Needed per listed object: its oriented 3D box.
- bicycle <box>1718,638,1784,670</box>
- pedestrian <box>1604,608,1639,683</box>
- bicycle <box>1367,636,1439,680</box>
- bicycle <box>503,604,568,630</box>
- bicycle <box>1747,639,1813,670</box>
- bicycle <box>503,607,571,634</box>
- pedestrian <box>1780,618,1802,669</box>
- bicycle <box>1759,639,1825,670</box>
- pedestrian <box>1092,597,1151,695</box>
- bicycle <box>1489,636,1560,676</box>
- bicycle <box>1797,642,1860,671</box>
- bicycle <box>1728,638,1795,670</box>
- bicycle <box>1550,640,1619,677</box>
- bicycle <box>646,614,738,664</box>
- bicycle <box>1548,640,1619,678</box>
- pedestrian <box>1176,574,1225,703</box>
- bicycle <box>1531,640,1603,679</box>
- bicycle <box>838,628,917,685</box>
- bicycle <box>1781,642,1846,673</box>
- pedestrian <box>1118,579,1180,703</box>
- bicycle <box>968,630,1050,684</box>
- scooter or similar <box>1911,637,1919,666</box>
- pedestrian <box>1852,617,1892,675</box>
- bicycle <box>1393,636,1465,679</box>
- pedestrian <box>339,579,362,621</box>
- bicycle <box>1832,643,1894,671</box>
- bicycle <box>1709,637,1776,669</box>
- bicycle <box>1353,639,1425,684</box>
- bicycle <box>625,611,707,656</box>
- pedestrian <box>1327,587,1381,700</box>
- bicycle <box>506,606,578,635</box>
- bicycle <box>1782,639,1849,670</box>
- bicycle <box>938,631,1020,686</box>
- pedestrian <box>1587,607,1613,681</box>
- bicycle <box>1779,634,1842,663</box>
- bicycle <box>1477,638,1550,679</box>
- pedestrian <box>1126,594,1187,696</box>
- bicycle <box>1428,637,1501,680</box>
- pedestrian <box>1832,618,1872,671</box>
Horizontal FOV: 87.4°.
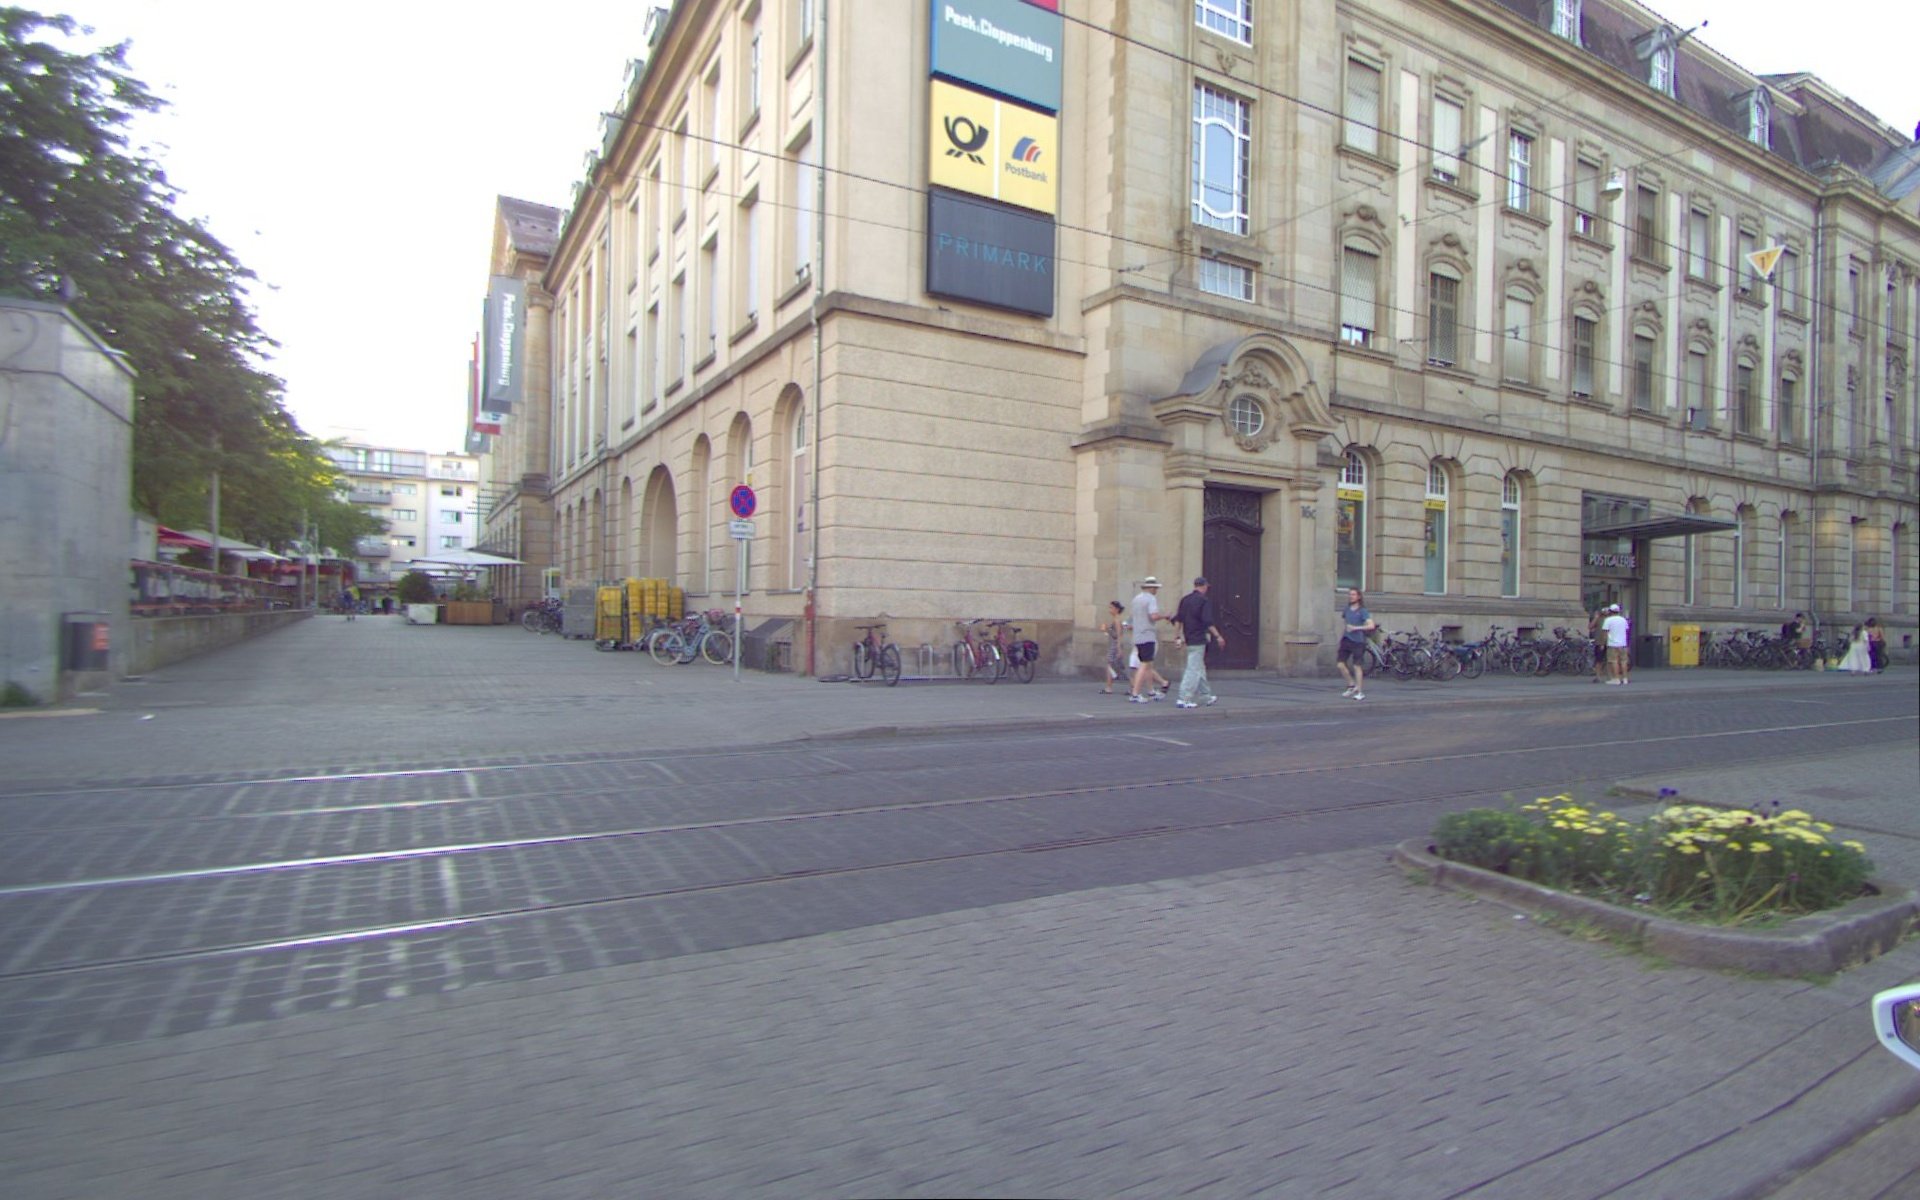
[{"bbox_3d":[24.572,1.658,31.241,0.445,0.885,1.571,2,0,-25],"label":"bicycle"},{"bbox_3d":[14.875,1.014,22.600,0.483,1.653,0.376,2,0,10],"label":"pedestrian"},{"bbox_3d":[10.009,1.297,22.731,0.445,0.885,1.571,2,0,-25],"label":"bicycle"},{"bbox_3d":[-15.771,0.634,37.351,2.167,0.955,0.534,1,0,-31],"label":"bicycle"},{"bbox_3d":[26.067,1.717,31.969,0.445,0.885,1.571,2,0,-25],"label":"bicycle"},{"bbox_3d":[-15.016,0.731,35.646,2.167,0.955,0.534,1,0,-31],"label":"bicycle"},{"bbox_3d":[27.060,1.410,32.706,0.424,1.655,0.363,2,0,-24],"label":"pedestrian"},{"bbox_3d":[26.661,1.723,32.194,0.445,0.885,1.571,2,0,-25],"label":"bicycle"},{"bbox_3d":[2.664,0.749,16.619,0.672,1.582,0.655,1,0,-33],"label":"pedestrian"},{"bbox_3d":[14.130,1.389,25.174,0.445,0.885,1.571,2,0,-25],"label":"bicycle"},{"bbox_3d":[30.054,1.936,34.777,0.445,0.885,1.571,2,0,-25],"label":"bicycle"},{"bbox_3d":[25.100,1.688,31.479,0.445,0.885,1.571,2,0,-25],"label":"bicycle"},{"bbox_3d":[16.778,1.551,27.034,0.445,0.885,1.571,2,0,-25],"label":"bicycle"},{"bbox_3d":[-5.735,0.828,21.533,1.820,1.025,0.480,1,1,-32],"label":"bicycle"},{"bbox_3d":[16.222,1.530,26.181,0.445,0.885,1.571,2,0,-25],"label":"bicycle"},{"bbox_3d":[3.375,0.538,14.071,0.637,1.759,0.595,0,-1,16],"label":"pedestrian"},{"bbox_3d":[15.436,1.499,25.572,0.445,0.885,1.571,2,0,-25],"label":"bicycle"},{"bbox_3d":[-1.471,0.972,17.639,0.628,0.880,1.825,2,0,-31],"label":"bicycle"},{"bbox_3d":[27.955,1.874,32.910,0.445,0.885,1.571,2,0,-25],"label":"bicycle"},{"bbox_3d":[2.768,0.591,14.722,0.670,1.759,0.674,-1,-2,38],"label":"pedestrian"},{"bbox_3d":[0.904,1.064,19.015,0.628,0.880,1.825,2,0,-31],"label":"bicycle"},{"bbox_3d":[36.865,1.985,37.775,0.445,1.082,1.542,2,0,-25],"label":"scooter or similar"},{"bbox_3d":[27.928,1.390,30.752,0.806,1.735,0.689,1,0,-30],"label":"pedestrian"},{"bbox_3d":[10.805,1.319,23.168,0.445,0.885,1.571,2,0,-25],"label":"bicycle"},{"bbox_3d":[-26.086,0.001,43.001,0.791,1.724,0.793,2,0,-31],"label":"pedestrian"},{"bbox_3d":[31.813,1.996,35.418,0.445,0.885,1.571,2,0,-25],"label":"bicycle"},{"bbox_3d":[24.038,1.609,30.889,0.445,0.885,1.571,2,0,-25],"label":"bicycle"},{"bbox_3d":[9.562,1.355,22.434,0.445,0.885,1.571,2,0,-25],"label":"bicycle"},{"bbox_3d":[-6.990,0.793,23.916,1.820,1.025,0.480,1,1,-32],"label":"bicycle"},{"bbox_3d":[6.335,0.693,16.140,0.671,1.759,0.480,-1,-2,44],"label":"pedestrian"},{"bbox_3d":[-14.394,0.722,34.599,2.167,0.955,0.847,1,0,-31],"label":"bicycle"},{"bbox_3d":[27.476,1.746,32.275,0.445,0.885,1.571,2,0,-25],"label":"bicycle"},{"bbox_3d":[0.321,1.062,18.592,0.628,0.880,1.825,2,0,-31],"label":"bicycle"},{"bbox_3d":[14.756,1.009,23.164,0.371,1.695,0.490,2,1,43],"label":"pedestrian"},{"bbox_3d":[28.701,1.630,33.924,0.445,0.885,1.571,2,0,-25],"label":"bicycle"},{"bbox_3d":[13.548,1.426,24.628,0.445,0.885,1.571,2,0,-25],"label":"bicycle"},{"bbox_3d":[3.142,0.706,16.080,0.672,1.582,0.655,1,0,-33],"label":"pedestrian"},{"bbox_3d":[11.733,1.355,23.390,0.445,0.885,1.571,2,0,-25],"label":"bicycle"},{"bbox_3d":[25.441,1.258,28.655,0.549,1.486,0.689,1,0,-30],"label":"pedestrian"}]
